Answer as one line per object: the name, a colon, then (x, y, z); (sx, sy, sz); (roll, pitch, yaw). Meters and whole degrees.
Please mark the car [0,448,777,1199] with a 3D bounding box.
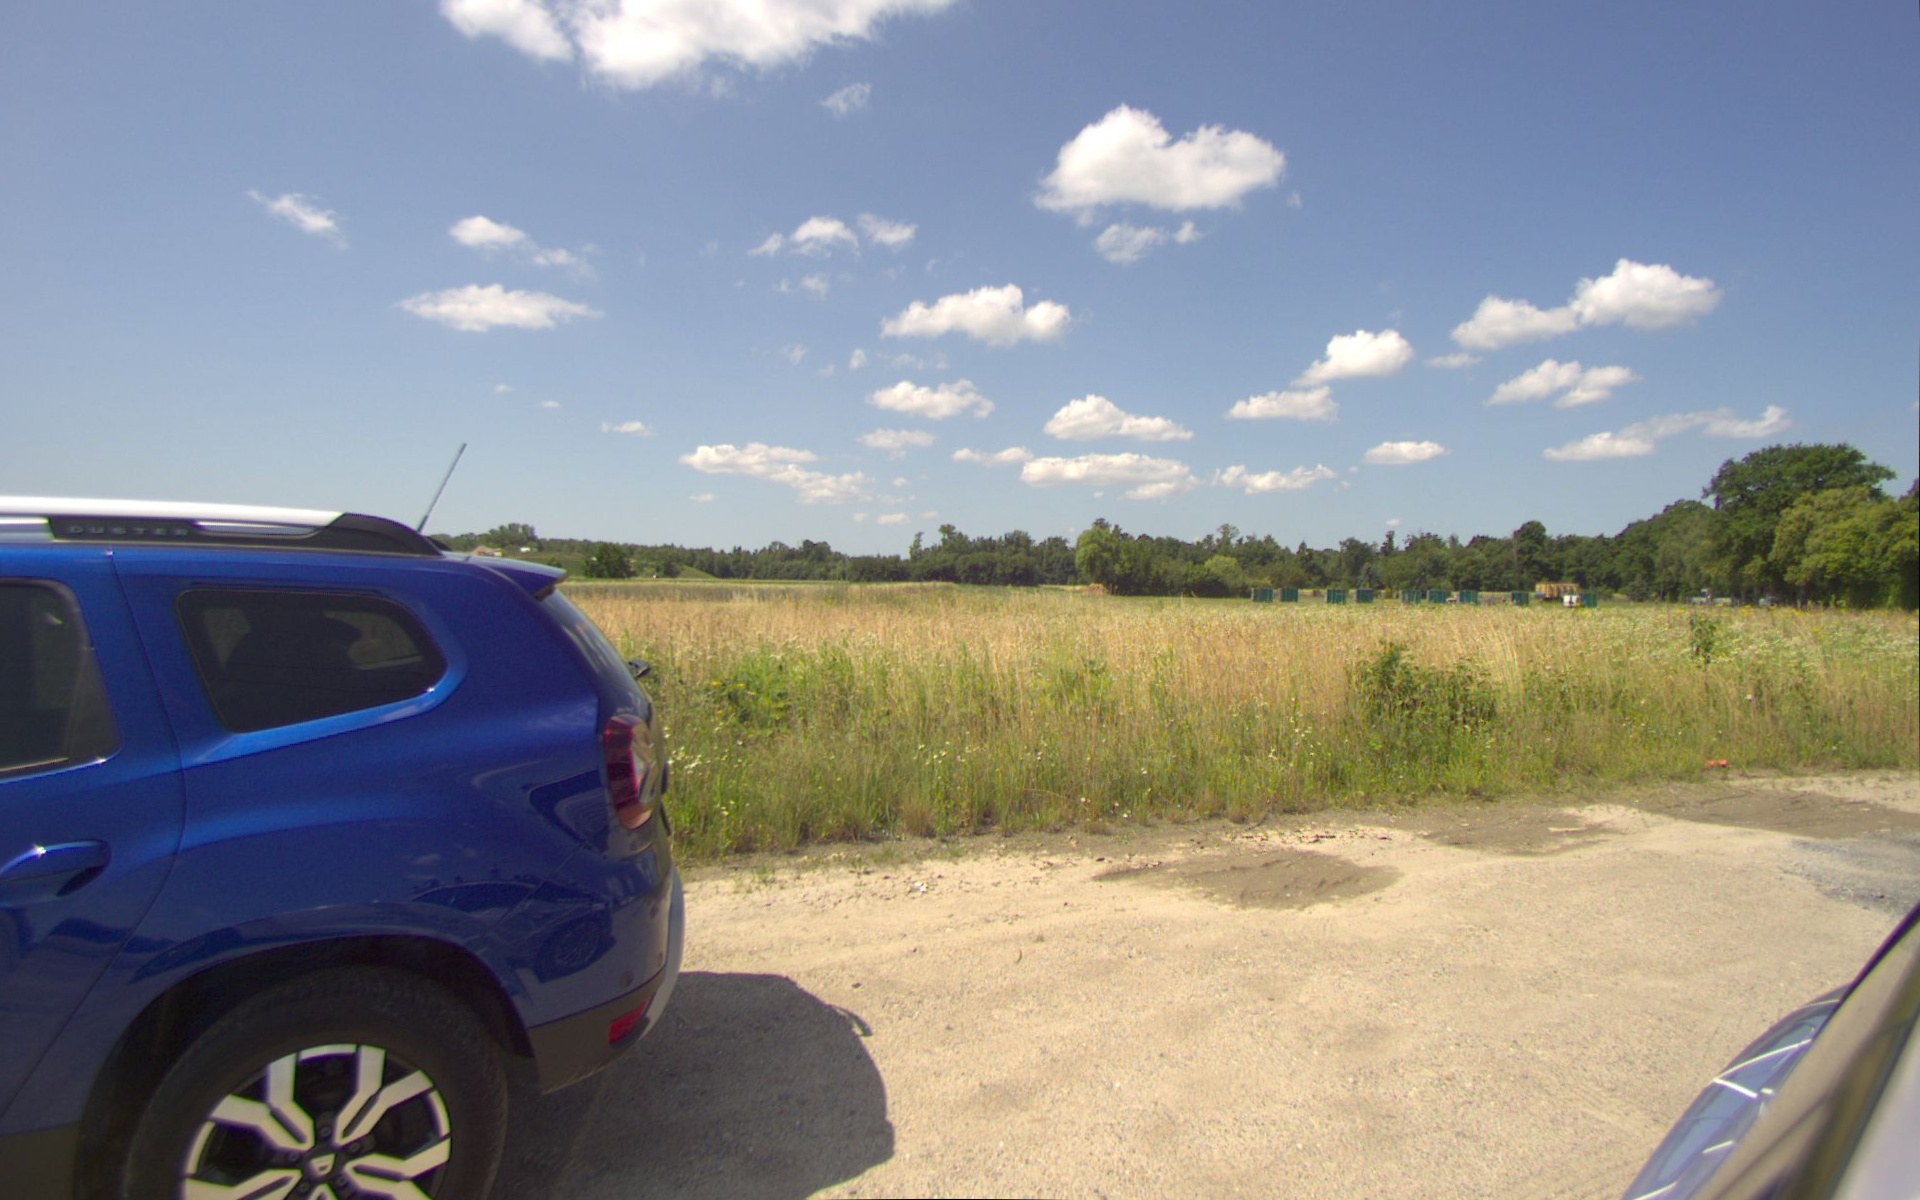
car: (-2.799, 0.574, 2.324); (4.366, 1.682, 1.868); (-1, 0, -23)
